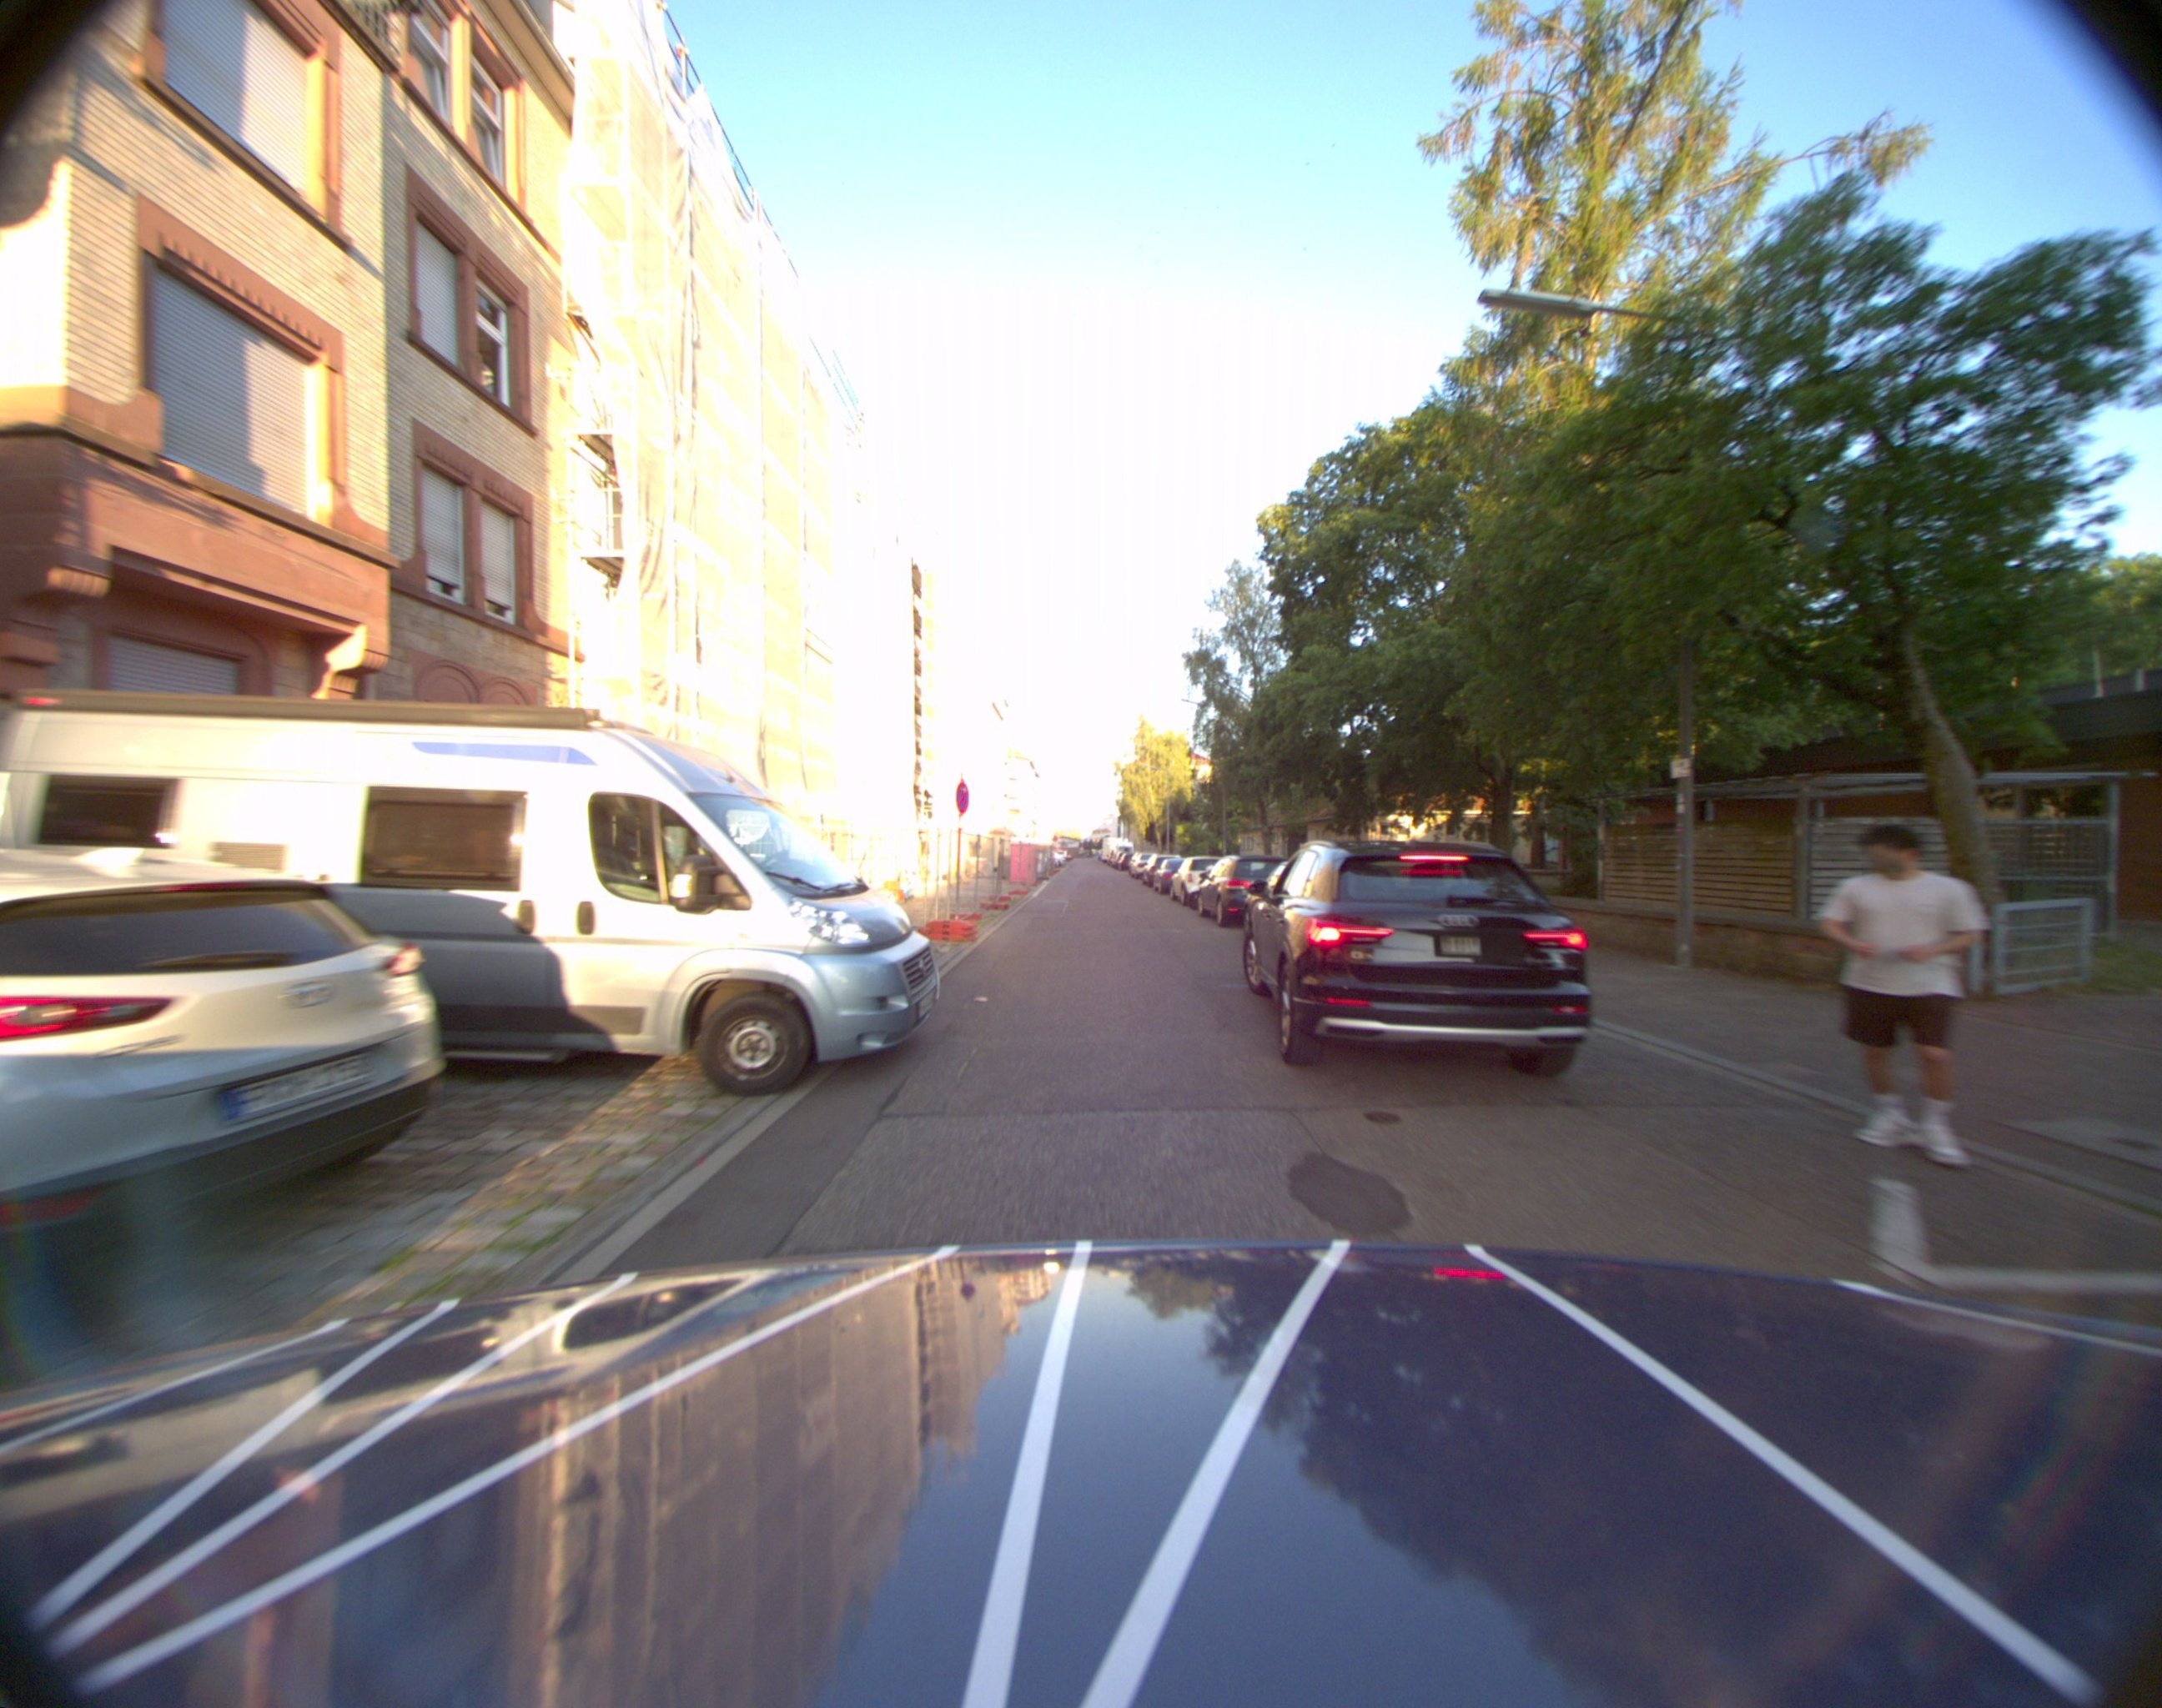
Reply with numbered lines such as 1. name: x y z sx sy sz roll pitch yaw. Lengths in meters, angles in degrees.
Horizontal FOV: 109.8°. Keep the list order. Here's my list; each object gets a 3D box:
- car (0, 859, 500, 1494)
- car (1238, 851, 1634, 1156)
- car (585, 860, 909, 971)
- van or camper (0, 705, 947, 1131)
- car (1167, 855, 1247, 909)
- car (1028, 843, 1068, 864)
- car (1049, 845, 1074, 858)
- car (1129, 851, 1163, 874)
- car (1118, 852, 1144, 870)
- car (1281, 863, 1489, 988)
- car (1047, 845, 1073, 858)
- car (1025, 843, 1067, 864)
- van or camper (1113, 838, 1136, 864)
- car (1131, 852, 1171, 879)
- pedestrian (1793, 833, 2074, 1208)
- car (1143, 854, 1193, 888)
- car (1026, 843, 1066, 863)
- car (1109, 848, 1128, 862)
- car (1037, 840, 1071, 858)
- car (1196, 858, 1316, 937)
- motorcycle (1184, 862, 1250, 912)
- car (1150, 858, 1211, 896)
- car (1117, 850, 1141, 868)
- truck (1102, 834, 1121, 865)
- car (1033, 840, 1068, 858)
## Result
1. car: -5.088 0.916 2.811 4.414 1.610 1.845 -1 3 2
2. car: 2.360 0.802 6.260 1.737 1.622 4.127 1 1 7
3. car: -4.774 0.857 11.290 4.059 1.432 1.685 1 2 -1
4. van or camper: -4.239 0.373 5.650 6.074 2.490 2.050 1 1 1
5. car: 3.689 0.783 22.909 1.738 1.417 3.804 1 1 -1
6. car: -3.333 -0.072 77.300 3.997 2.002 2.000 -1 1 0
7. car: -3.186 -0.464 123.199 3.997 2.002 2.000 -1 1 0
8. car: 4.069 0.494 48.258 1.738 1.358 4.290 1 1 -1
9. car: 3.957 0.504 60.327 1.738 1.358 4.290 1 1 -1
10. car: 4.128 0.886 10.898 1.624 1.417 3.415 1 1 1
11. car: -3.381 -0.421 120.698 3.997 2.002 2.000 -1 1 0
12. car: -3.391 -0.036 75.082 3.997 2.002 2.000 -1 1 0
13. van or camper: 4.052 -0.312 71.680 1.825 2.401 4.290 1 1 -1
14. car: 3.818 0.620 42.097 1.738 1.358 4.290 1 1 -1
15. pedestrian: 4.205 0.768 3.787 0.748 1.693 0.558 -3 1 -3
16. car: 3.781 0.715 33.702 1.738 1.358 3.804 1 1 -1
17. car: -3.674 -0.102 79.850 3.997 2.002 2.000 -1 1 0
18. car: 3.947 0.092 80.896 1.738 1.502 4.290 1 1 -1
19. car: -3.243 -0.639 91.499 3.997 2.002 2.000 -1 1 0
20. car: 3.630 0.836 16.450 1.738 1.438 3.804 1 1 1
21. motorcycle: 3.530 0.854 19.872 1.596 1.251 0.785 -1 1 3
22. car: 3.644 0.813 28.476 1.738 1.280 3.804 1 1 -1
23. car: 4.163 0.378 66.205 1.738 1.502 4.290 1 1 -1
24. truck: 3.954 -0.554 98.712 2.182 3.860 4.926 -1 1 0
25. car: -3.515 -0.552 88.180 3.997 2.002 2.000 -1 1 0
